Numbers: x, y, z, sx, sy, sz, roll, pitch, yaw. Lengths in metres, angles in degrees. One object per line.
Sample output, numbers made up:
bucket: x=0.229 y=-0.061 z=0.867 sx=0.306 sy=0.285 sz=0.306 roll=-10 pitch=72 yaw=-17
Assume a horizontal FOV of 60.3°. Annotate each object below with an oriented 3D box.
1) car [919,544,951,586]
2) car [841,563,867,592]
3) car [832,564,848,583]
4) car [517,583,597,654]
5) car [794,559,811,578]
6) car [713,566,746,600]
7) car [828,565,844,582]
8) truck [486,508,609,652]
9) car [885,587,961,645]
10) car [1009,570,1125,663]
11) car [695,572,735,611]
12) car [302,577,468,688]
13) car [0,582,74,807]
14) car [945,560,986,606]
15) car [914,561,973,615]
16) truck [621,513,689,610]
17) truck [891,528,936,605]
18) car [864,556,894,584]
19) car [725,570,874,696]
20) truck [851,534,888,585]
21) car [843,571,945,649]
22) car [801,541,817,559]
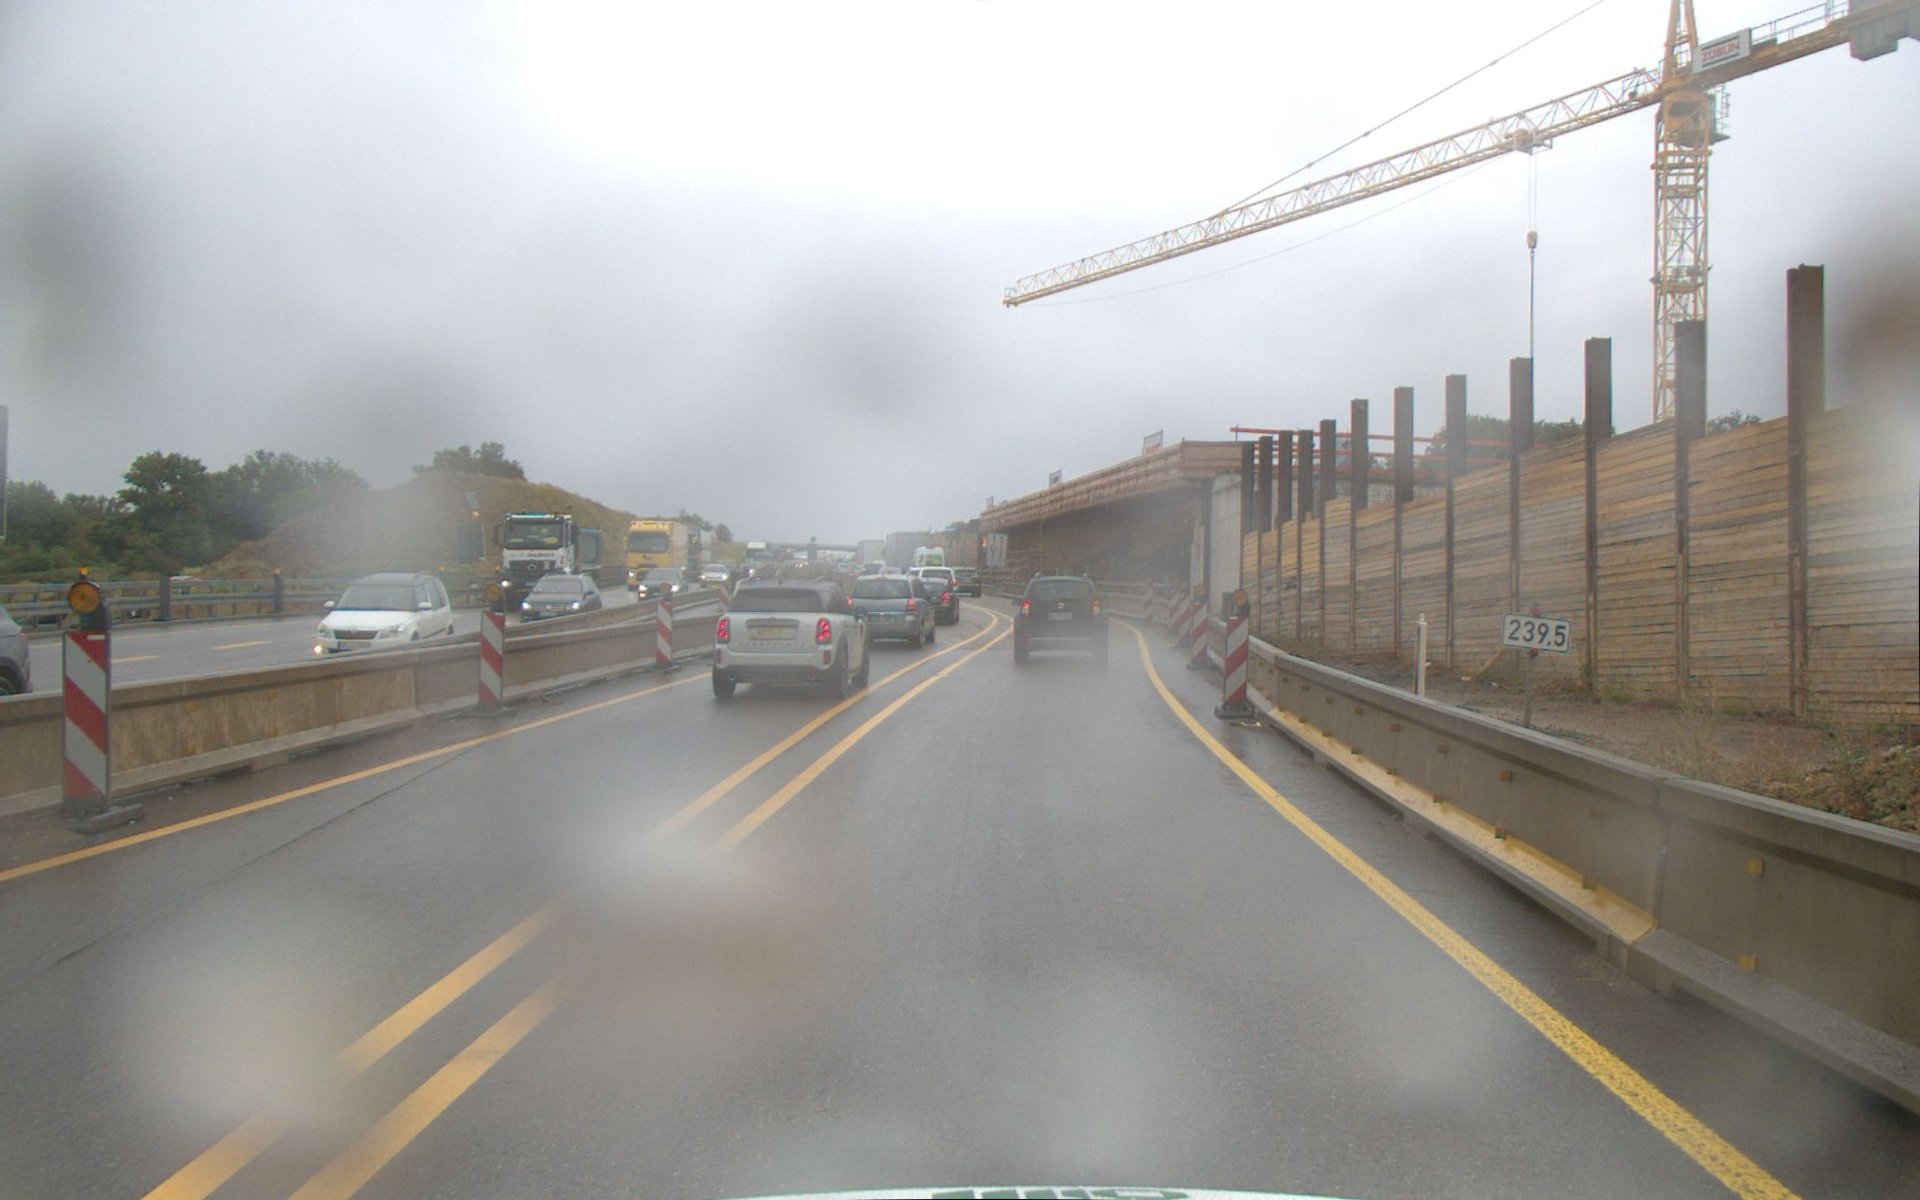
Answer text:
car: x=-1.743 y=-2.344 z=113.029 sx=1.954 sy=2.528 sz=4.977 roll=0 pitch=-3 yaw=-4
car: x=-8.863 y=-1.860 z=138.369 sx=1.953 sy=2.201 sz=4.139 roll=0 pitch=-3 yaw=-1
car: x=-13.921 y=-3.002 z=191.227 sx=1.813 sy=1.927 sz=4.016 roll=0 pitch=-3 yaw=-5
car: x=-11.276 y=0.552 z=46.429 sx=1.591 sy=1.842 sz=3.633 roll=0 pitch=-3 yaw=-5
car: x=-19.029 y=-3.832 z=199.705 sx=1.955 sy=2.049 sz=3.994 roll=0 pitch=-3 yaw=-6
car: x=-17.245 y=-1.223 z=123.840 sx=2.173 sy=2.412 sz=4.659 roll=1 pitch=-1 yaw=-5
car: x=-15.823 y=-3.385 z=211.444 sx=1.955 sy=2.049 sz=3.995 roll=0 pitch=-1 yaw=-6
truck: x=-15.345 y=-0.624 z=62.218 sx=3.022 sy=5.006 sz=8.554 roll=1 pitch=-1 yaw=-5
car: x=-1.184 y=0.537 z=51.157 sx=1.956 sy=1.629 sz=4.133 roll=0 pitch=-3 yaw=-7
car: x=2.007 y=0.377 z=32.130 sx=2.038 sy=1.629 sz=4.140 roll=0 pitch=-3 yaw=1
car: x=-15.794 y=-0.513 z=106.778 sx=2.194 sy=2.400 sz=4.871 roll=1 pitch=-1 yaw=-5
car: x=-10.214 y=0.653 z=29.729 sx=1.751 sy=1.842 sz=4.493 roll=0 pitch=-3 yaw=-5
car: x=-8.658 y=0.726 z=12.549 sx=1.751 sy=1.842 sz=4.493 roll=0 pitch=-3 yaw=-5
car: x=0.282 y=-0.890 z=89.527 sx=1.954 sy=2.201 sz=4.136 roll=0 pitch=-3 yaw=-4
car: x=-0.697 y=-0.453 z=65.771 sx=1.955 sy=2.049 sz=3.888 roll=0 pitch=0 yaw=-6
truck: x=-18.329 y=-2.196 z=99.853 sx=3.080 sy=5.513 sz=8.514 roll=1 pitch=-1 yaw=-5
truck: x=-3.665 y=-2.612 z=132.836 sx=3.037 sy=5.522 sz=9.443 roll=0 pitch=-3 yaw=2
car: x=-5.965 y=-2.179 z=121.788 sx=1.955 sy=1.792 sz=3.808 roll=0 pitch=-3 yaw=-7
car: x=-2.193 y=0.508 z=23.617 sx=1.779 sy=1.629 sz=4.306 roll=0 pitch=-2 yaw=-1
truck: x=-10.754 y=-4.674 z=195.169 sx=3.731 sy=5.132 sz=12.901 roll=0 pitch=-3 yaw=-6
car: x=-1.452 y=0.279 z=37.969 sx=1.952 sy=1.629 sz=4.141 roll=0 pitch=-3 yaw=3
car: x=-19.533 y=-6.430 z=214.101 sx=1.955 sy=2.049 sz=3.994 roll=0 pitch=-3 yaw=-6
